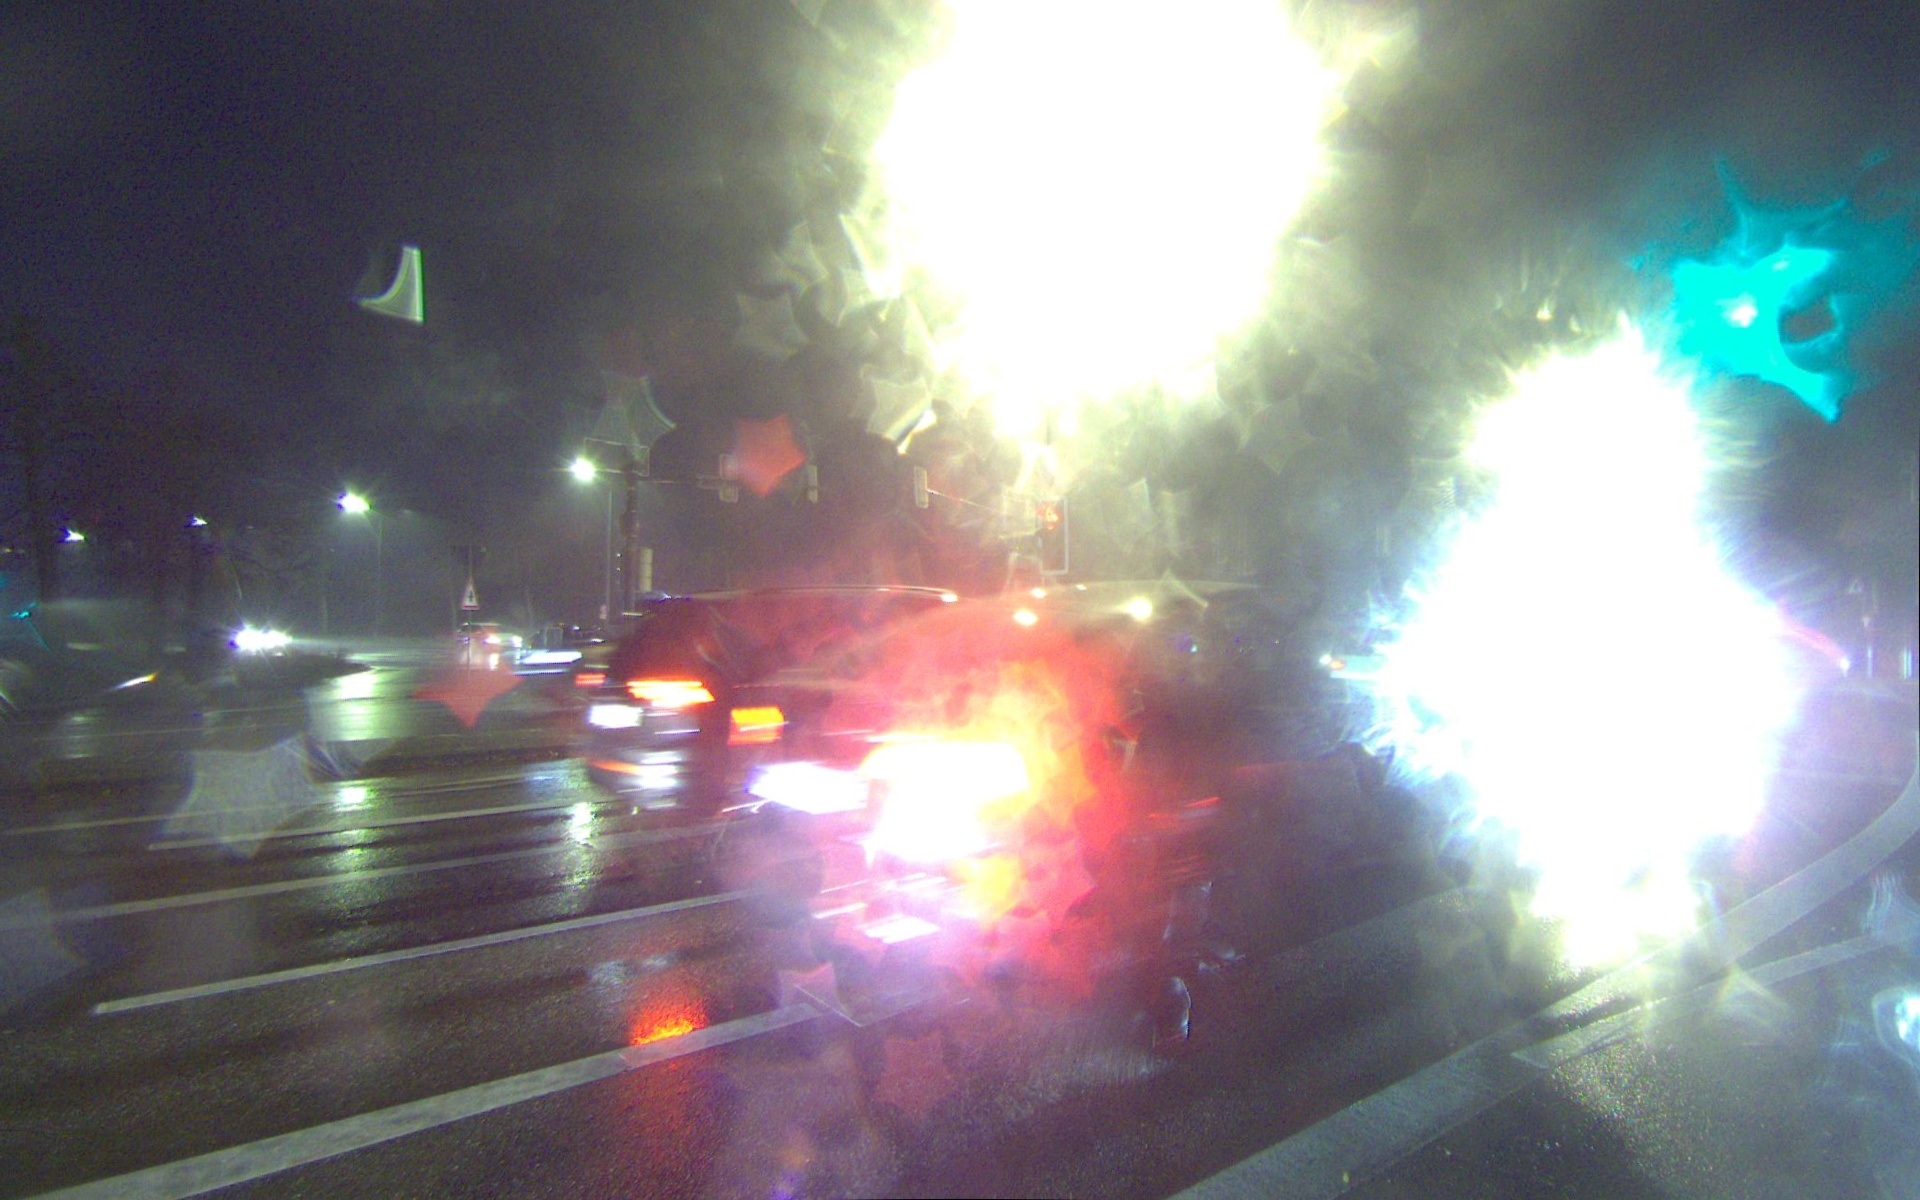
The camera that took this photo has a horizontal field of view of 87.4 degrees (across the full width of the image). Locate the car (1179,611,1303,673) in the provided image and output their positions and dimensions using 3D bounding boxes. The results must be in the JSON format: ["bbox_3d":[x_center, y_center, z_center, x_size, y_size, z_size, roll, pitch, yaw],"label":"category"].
[{"bbox_3d":[8.665,1.272,30.765,1.880,1.743,4.436,-2,-3,42],"label":"car"}]

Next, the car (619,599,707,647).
[{"bbox_3d":[-13.743,1.048,46.370,4.080,2.051,1.787,1,0,37],"label":"car"}]

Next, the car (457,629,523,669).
[{"bbox_3d":[-25.371,2.617,54.195,3.551,1.964,1.707,1,-1,36],"label":"car"}]

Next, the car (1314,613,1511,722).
[{"bbox_3d":[7.036,0.975,15.438,1.637,1.464,3.771,0,-2,43],"label":"car"}]

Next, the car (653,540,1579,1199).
[{"bbox_3d":[1.054,0.736,4.701,4.442,1.675,1.813,1,-2,-40],"label":"car"}]

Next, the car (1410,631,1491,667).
[{"bbox_3d":[22.305,2.186,45.628,1.907,1.482,4.758,1,0,44],"label":"car"}]

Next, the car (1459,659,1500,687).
[{"bbox_3d":[37.493,5.214,72.407,1.748,1.795,3.981,1,-1,40],"label":"car"}]

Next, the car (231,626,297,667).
[{"bbox_3d":[-39.012,2.586,56.292,3.931,2.107,1.659,1,0,33],"label":"car"}]

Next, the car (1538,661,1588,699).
[{"bbox_3d":[36.572,4.796,60.882,1.794,2.040,3.977,1,-1,43],"label":"car"}]

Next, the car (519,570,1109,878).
[{"bbox_3d":[-0.927,0.748,7.491,3.954,1.680,1.894,2,-2,-40],"label":"car"}]

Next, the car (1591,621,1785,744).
[{"bbox_3d":[10.509,1.090,14.372,1.681,1.482,4.288,0,-2,44],"label":"car"}]
